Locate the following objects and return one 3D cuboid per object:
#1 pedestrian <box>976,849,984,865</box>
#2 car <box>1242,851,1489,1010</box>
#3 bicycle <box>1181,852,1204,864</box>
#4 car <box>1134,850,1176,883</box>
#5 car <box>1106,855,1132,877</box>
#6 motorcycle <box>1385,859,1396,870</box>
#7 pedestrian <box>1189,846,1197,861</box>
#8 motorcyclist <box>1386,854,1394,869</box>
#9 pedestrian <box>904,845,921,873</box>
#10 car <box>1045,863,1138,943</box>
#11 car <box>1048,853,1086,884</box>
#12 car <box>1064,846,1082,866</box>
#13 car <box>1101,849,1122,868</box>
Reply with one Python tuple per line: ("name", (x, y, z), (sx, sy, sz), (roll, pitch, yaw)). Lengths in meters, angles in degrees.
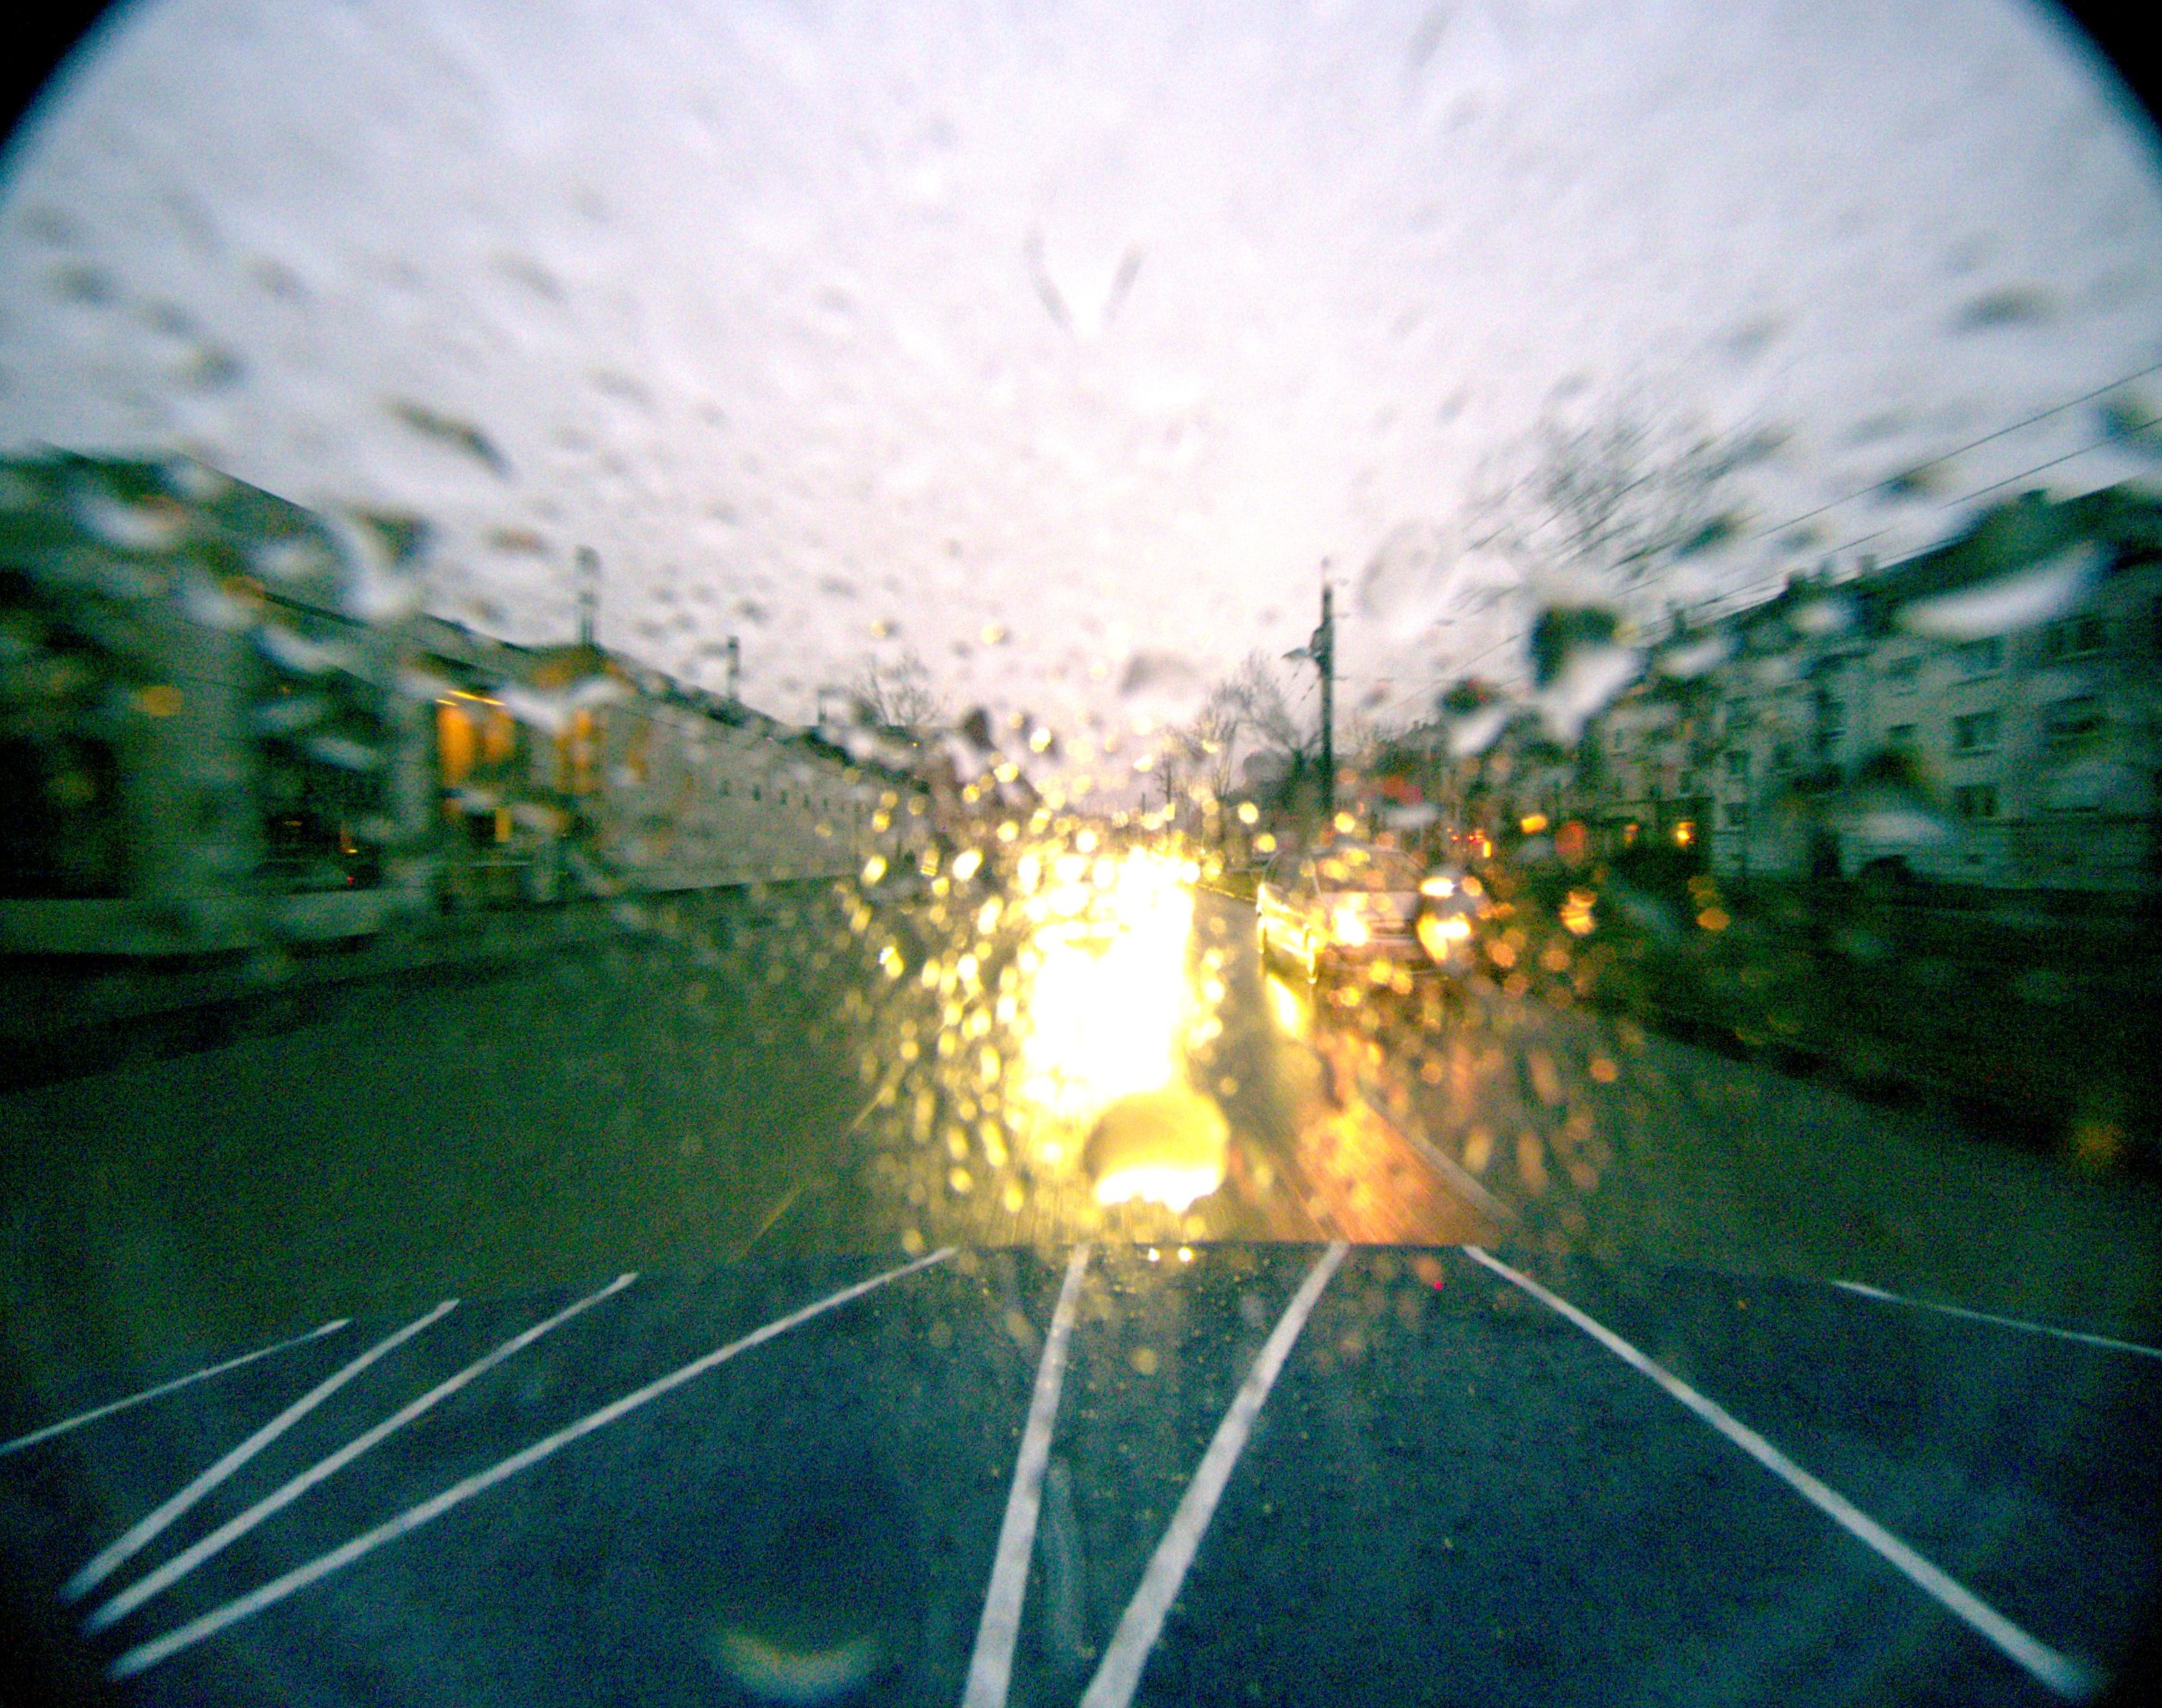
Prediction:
("pedestrian", (-10.028, 0.304, 75.680), (0.674, 1.639, 0.769), (2, 1, 1))
("car", (3.252, 0.753, 9.523), (1.638, 1.511, 3.907), (-2, 1, 1))
("bicycle", (8.982, 0.314, 61.062), (1.725, 0.893, 0.733), (2, 2, 1))
("car", (3.664, 0.606, 38.015), (1.905, 1.475, 3.656), (-2, 1, 3))
("car", (2.505, 0.779, 50.770), (1.538, 1.347, 3.546), (-2, 1, 1))
("motorcycle", (21.255, 0.705, 52.149), (0.422, 0.679, 1.176), (-2, 1, 8))
("pedestrian", (8.976, -0.064, 61.034), (0.562, 1.150, 0.582), (-2, 1, 3))
("motorcyclist", (21.245, 0.509, 52.266), (0.415, 1.055, 0.345), (-2, 1, 8))
("pedestrian", (-10.172, 0.304, 45.924), (0.814, 1.621, 0.883), (2, 1, 0))
("car", (0.227, 0.928, 15.919), (1.669, 1.325, 3.786), (-2, 1, 1))
("car", (-0.635, 0.672, 37.354), (1.736, 1.311, 3.803), (-2, 1, 1))
("car", (-0.780, 0.187, 77.949), (1.671, 2.002, 3.774), (-2, 1, 1))
("car", (2.841, 0.382, 70.871), (1.802, 1.674, 3.805), (-2, 1, 1))
